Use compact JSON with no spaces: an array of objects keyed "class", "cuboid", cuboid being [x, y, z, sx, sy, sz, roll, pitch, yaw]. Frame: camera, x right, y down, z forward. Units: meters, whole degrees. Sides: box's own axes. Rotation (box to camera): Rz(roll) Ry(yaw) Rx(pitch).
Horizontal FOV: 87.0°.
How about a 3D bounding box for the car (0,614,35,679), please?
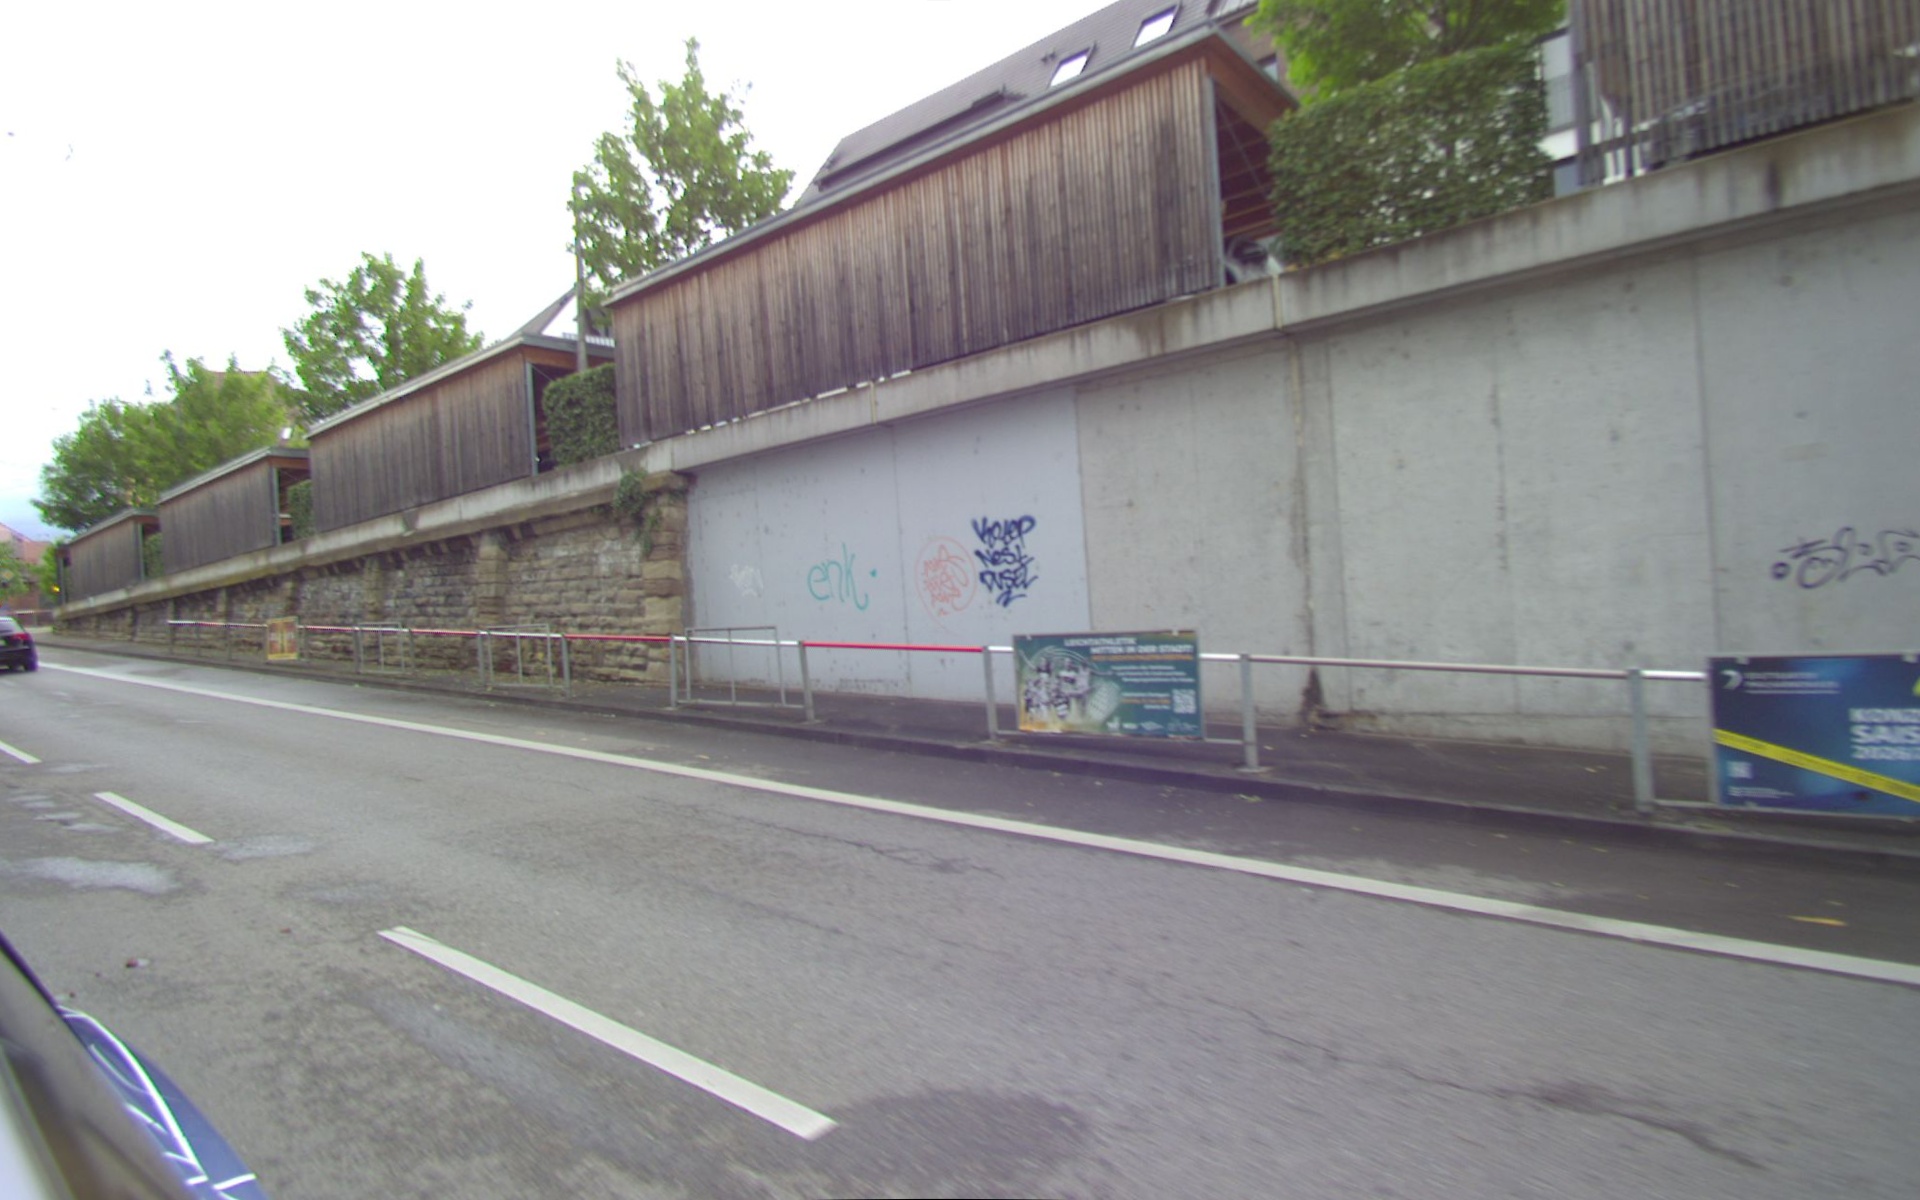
[{"class":"car","cuboid":[-24.955,1.159,25.614,3.996,1.544,1.718,-1,1,40]}]
